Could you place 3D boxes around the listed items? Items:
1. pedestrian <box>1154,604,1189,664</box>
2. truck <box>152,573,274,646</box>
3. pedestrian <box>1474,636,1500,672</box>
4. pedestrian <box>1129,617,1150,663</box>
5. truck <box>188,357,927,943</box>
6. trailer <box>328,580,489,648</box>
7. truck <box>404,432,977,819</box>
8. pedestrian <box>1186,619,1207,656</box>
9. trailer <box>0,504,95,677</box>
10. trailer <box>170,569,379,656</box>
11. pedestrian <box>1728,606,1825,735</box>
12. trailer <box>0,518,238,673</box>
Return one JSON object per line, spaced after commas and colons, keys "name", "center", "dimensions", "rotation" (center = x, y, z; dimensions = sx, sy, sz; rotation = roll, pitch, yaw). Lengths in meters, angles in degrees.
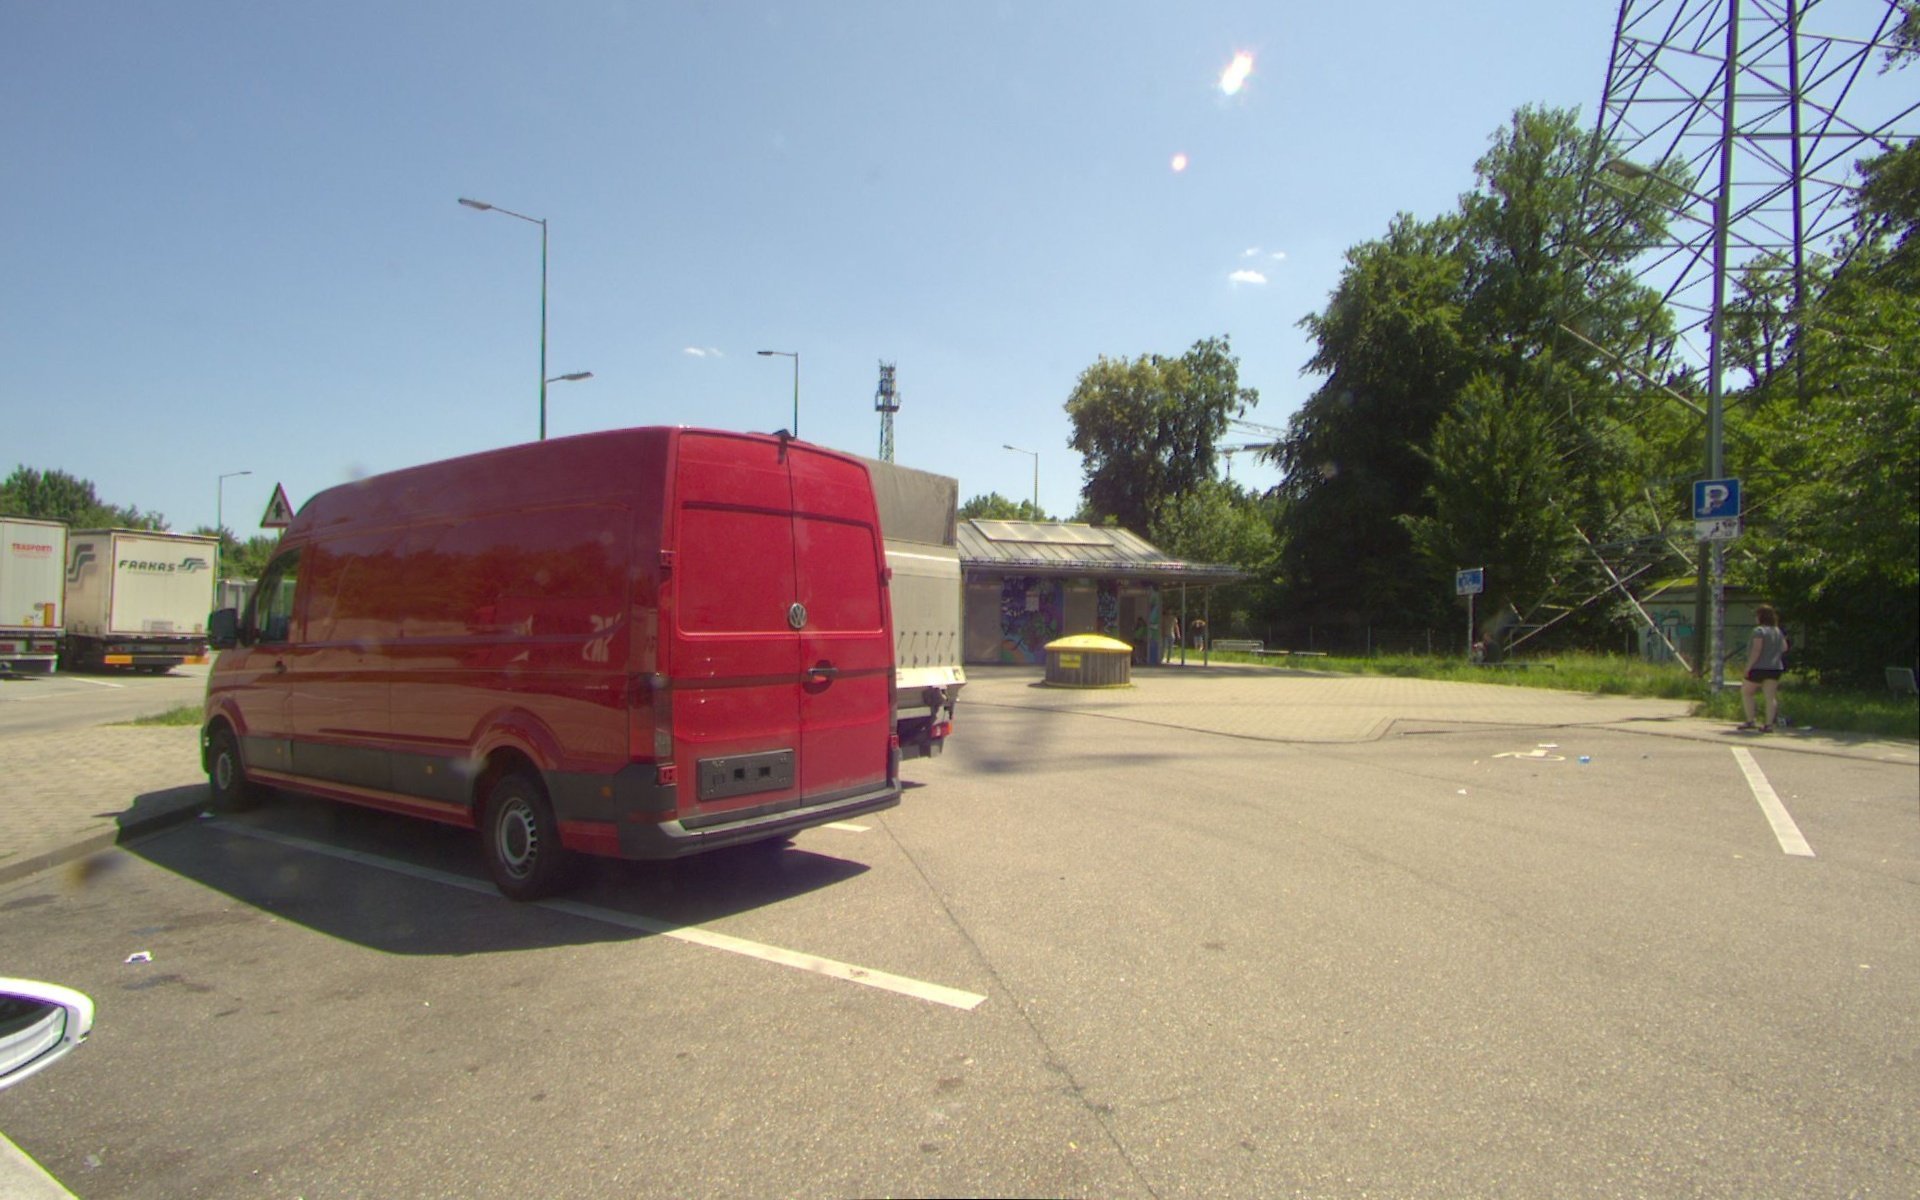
{"name": "pedestrian", "center": [6.978, 1.121, 33.113], "dimensions": [0.799, 1.929, 0.920], "rotation": [0, -1, -15]}
{"name": "truck", "center": [-37.553, 0.468, 50.306], "dimensions": [5.887, 3.406, 2.862], "rotation": [1, -2, 32]}
{"name": "pedestrian", "center": [14.639, 1.492, 27.803], "dimensions": [0.439, 0.987, 0.460], "rotation": [0, -1, -19]}
{"name": "pedestrian", "center": [5.540, 1.223, 30.864], "dimensions": [0.532, 1.392, 0.583], "rotation": [0, -1, 0]}
{"name": "truck", "center": [-3.340, 0.303, 7.322], "dimensions": [6.372, 2.685, 2.005], "rotation": [-1, -2, 37]}
{"name": "trailer", "center": [-36.175, 0.836, 65.322], "dimensions": [13.561, 3.955, 2.854], "rotation": [1, -2, 32]}
{"name": "truck", "center": [-3.090, 0.274, 10.506], "dimensions": [6.372, 2.944, 2.411], "rotation": [-1, -2, 37]}
{"name": "pedestrian", "center": [10.766, 1.705, 45.584], "dimensions": [0.800, 1.639, 0.919], "rotation": [-1, -1, 19]}
{"name": "trailer", "center": [-28.691, -0.345, 28.005], "dimensions": [13.561, 4.162, 2.854], "rotation": [1, -2, 32]}
{"name": "trailer", "center": [-32.481, 0.478, 47.083], "dimensions": [13.561, 3.646, 2.854], "rotation": [1, -2, 32]}
{"name": "pedestrian", "center": [10.858, 0.929, 13.335], "dimensions": [0.674, 1.670, 0.715], "rotation": [0, -1, -3]}
{"name": "trailer", "center": [-27.619, -0.172, 31.593], "dimensions": [13.561, 4.162, 2.854], "rotation": [1, -2, 32]}
